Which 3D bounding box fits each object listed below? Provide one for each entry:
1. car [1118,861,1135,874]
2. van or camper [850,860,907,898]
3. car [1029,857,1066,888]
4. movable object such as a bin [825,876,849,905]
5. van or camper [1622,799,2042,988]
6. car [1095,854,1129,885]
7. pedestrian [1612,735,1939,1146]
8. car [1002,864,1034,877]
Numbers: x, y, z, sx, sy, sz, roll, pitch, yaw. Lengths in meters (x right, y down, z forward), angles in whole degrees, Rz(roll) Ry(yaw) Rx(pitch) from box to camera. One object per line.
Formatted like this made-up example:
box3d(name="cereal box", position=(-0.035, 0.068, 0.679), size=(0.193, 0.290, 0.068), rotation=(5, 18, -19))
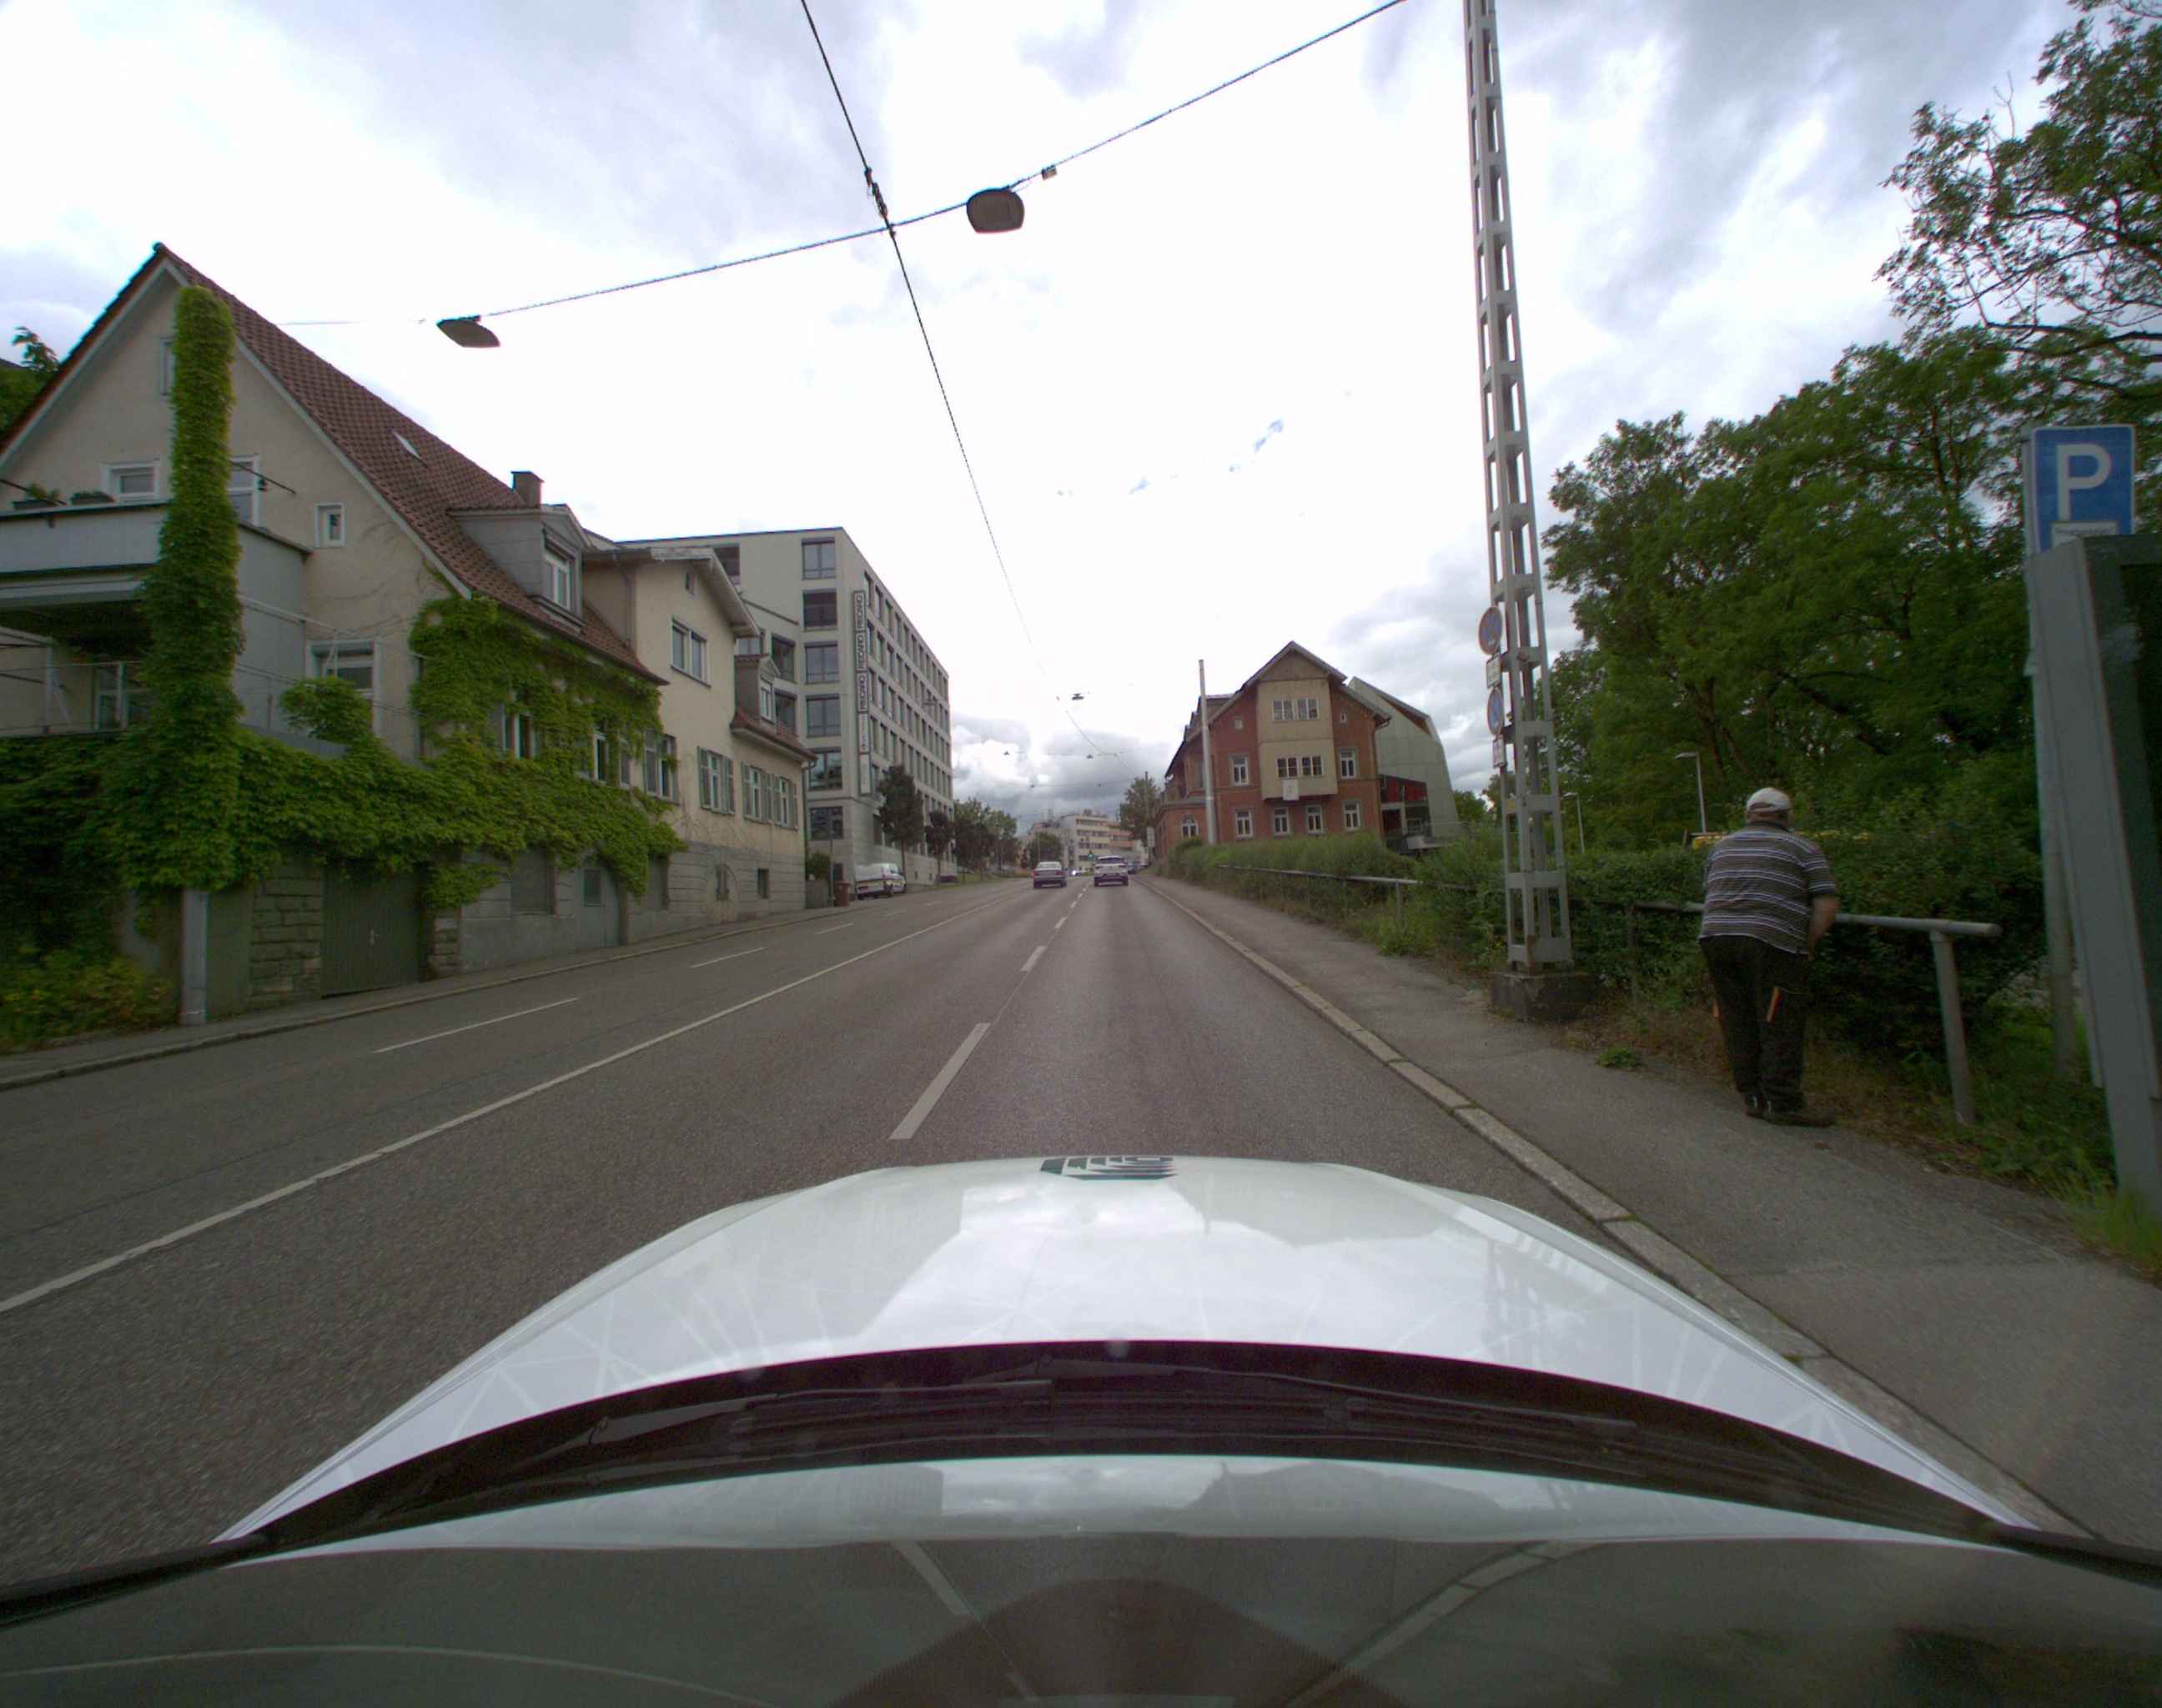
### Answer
box3d(name="car", position=(5.709, 1.674, 101.475), size=(1.761, 1.571, 4.292), rotation=(-3, -1, 6))
box3d(name="van or camper", position=(-11.713, 1.390, 47.477), size=(2.054, 1.968, 4.870), rotation=(-3, 0, -1))
box3d(name="car", position=(-1.763, 0.946, 44.117), size=(1.693, 1.516, 3.737), rotation=(-3, 0, 2))
box3d(name="movable object such as a bin", position=(-10.273, 1.524, 34.342), size=(0.808, 1.189, 0.697), rotation=(1, -1, -5))
box3d(name="van or camper", position=(11.690, 0.491, 13.584), size=(2.201, 2.329, 6.200), rotation=(-4, 0, 12))
box3d(name="car", position=(1.635, 0.779, 43.235), size=(1.693, 1.548, 3.737), rotation=(0, 0, 2))
box3d(name="pedestrian", position=(3.587, 0.408, 4.319), size=(0.809, 1.884, 0.949), rotation=(-4, 0, 1))
box3d(name="car", position=(-8.407, 2.188, 108.405), size=(4.023, 1.544, 1.759), rotation=(-1, -2, -45))
